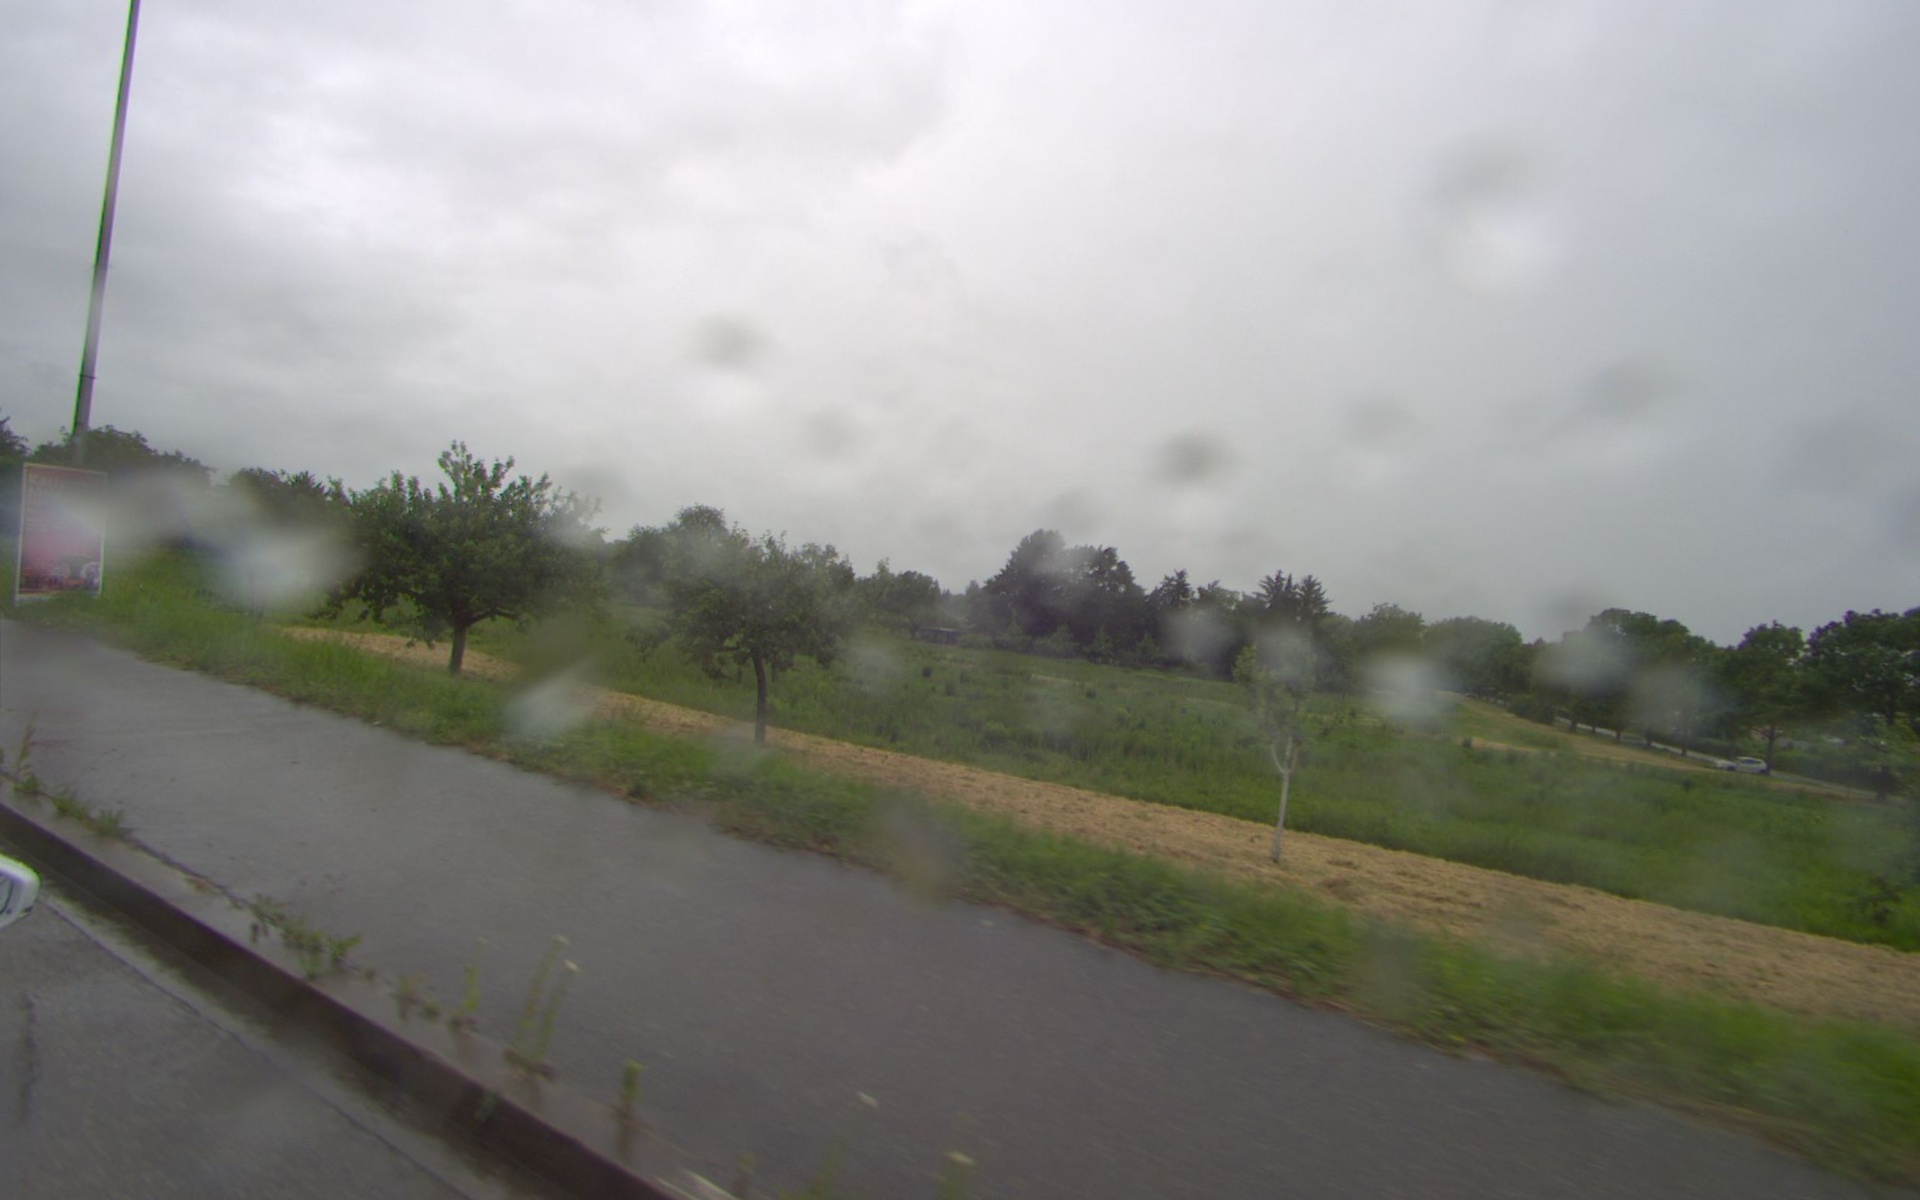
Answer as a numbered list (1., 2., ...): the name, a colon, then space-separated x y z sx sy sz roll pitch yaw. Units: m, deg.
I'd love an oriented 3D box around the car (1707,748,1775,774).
1. car: 67.045 13.819 86.418 4.086 1.527 1.803 7 -2 13
